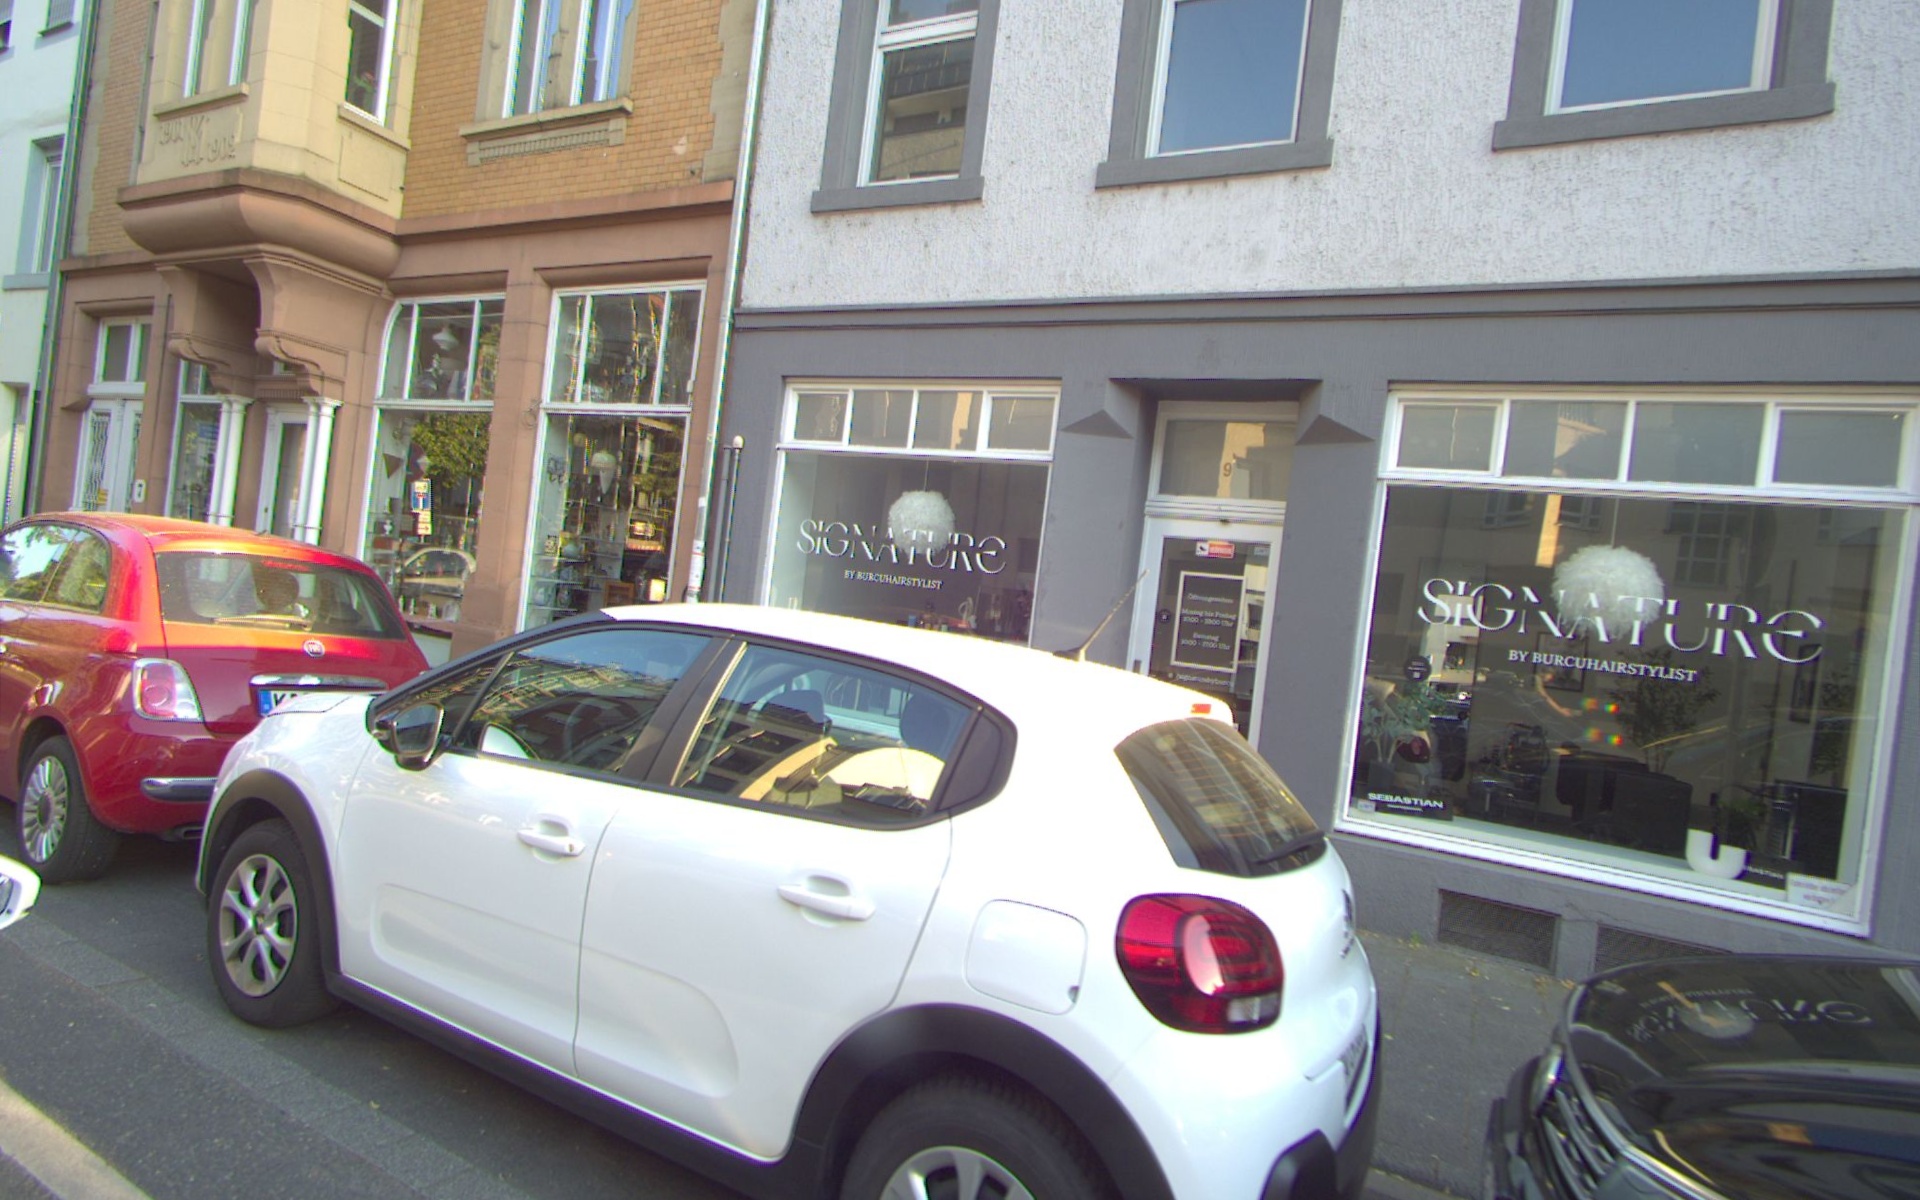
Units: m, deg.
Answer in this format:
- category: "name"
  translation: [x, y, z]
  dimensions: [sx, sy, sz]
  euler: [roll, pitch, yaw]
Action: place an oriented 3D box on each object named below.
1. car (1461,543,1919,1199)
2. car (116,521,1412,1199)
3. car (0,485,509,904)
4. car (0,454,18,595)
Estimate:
- category: "car"
  translation: [2.905, 1.049, 1.079]
  dimensions: [4.133, 1.687, 1.817]
  euler: [6, -2, 28]
- category: "car"
  translation: [-0.720, 0.685, 3.215]
  dimensions: [3.737, 1.394, 1.671]
  euler: [6, -2, 28]
- category: "car"
  translation: [-4.133, 0.294, 5.179]
  dimensions: [3.211, 1.501, 1.591]
  euler: [6, -2, 30]
- category: "car"
  translation: [-8.568, -0.380, 6.640]
  dimensions: [4.290, 1.714, 1.831]
  euler: [6, -2, 25]
